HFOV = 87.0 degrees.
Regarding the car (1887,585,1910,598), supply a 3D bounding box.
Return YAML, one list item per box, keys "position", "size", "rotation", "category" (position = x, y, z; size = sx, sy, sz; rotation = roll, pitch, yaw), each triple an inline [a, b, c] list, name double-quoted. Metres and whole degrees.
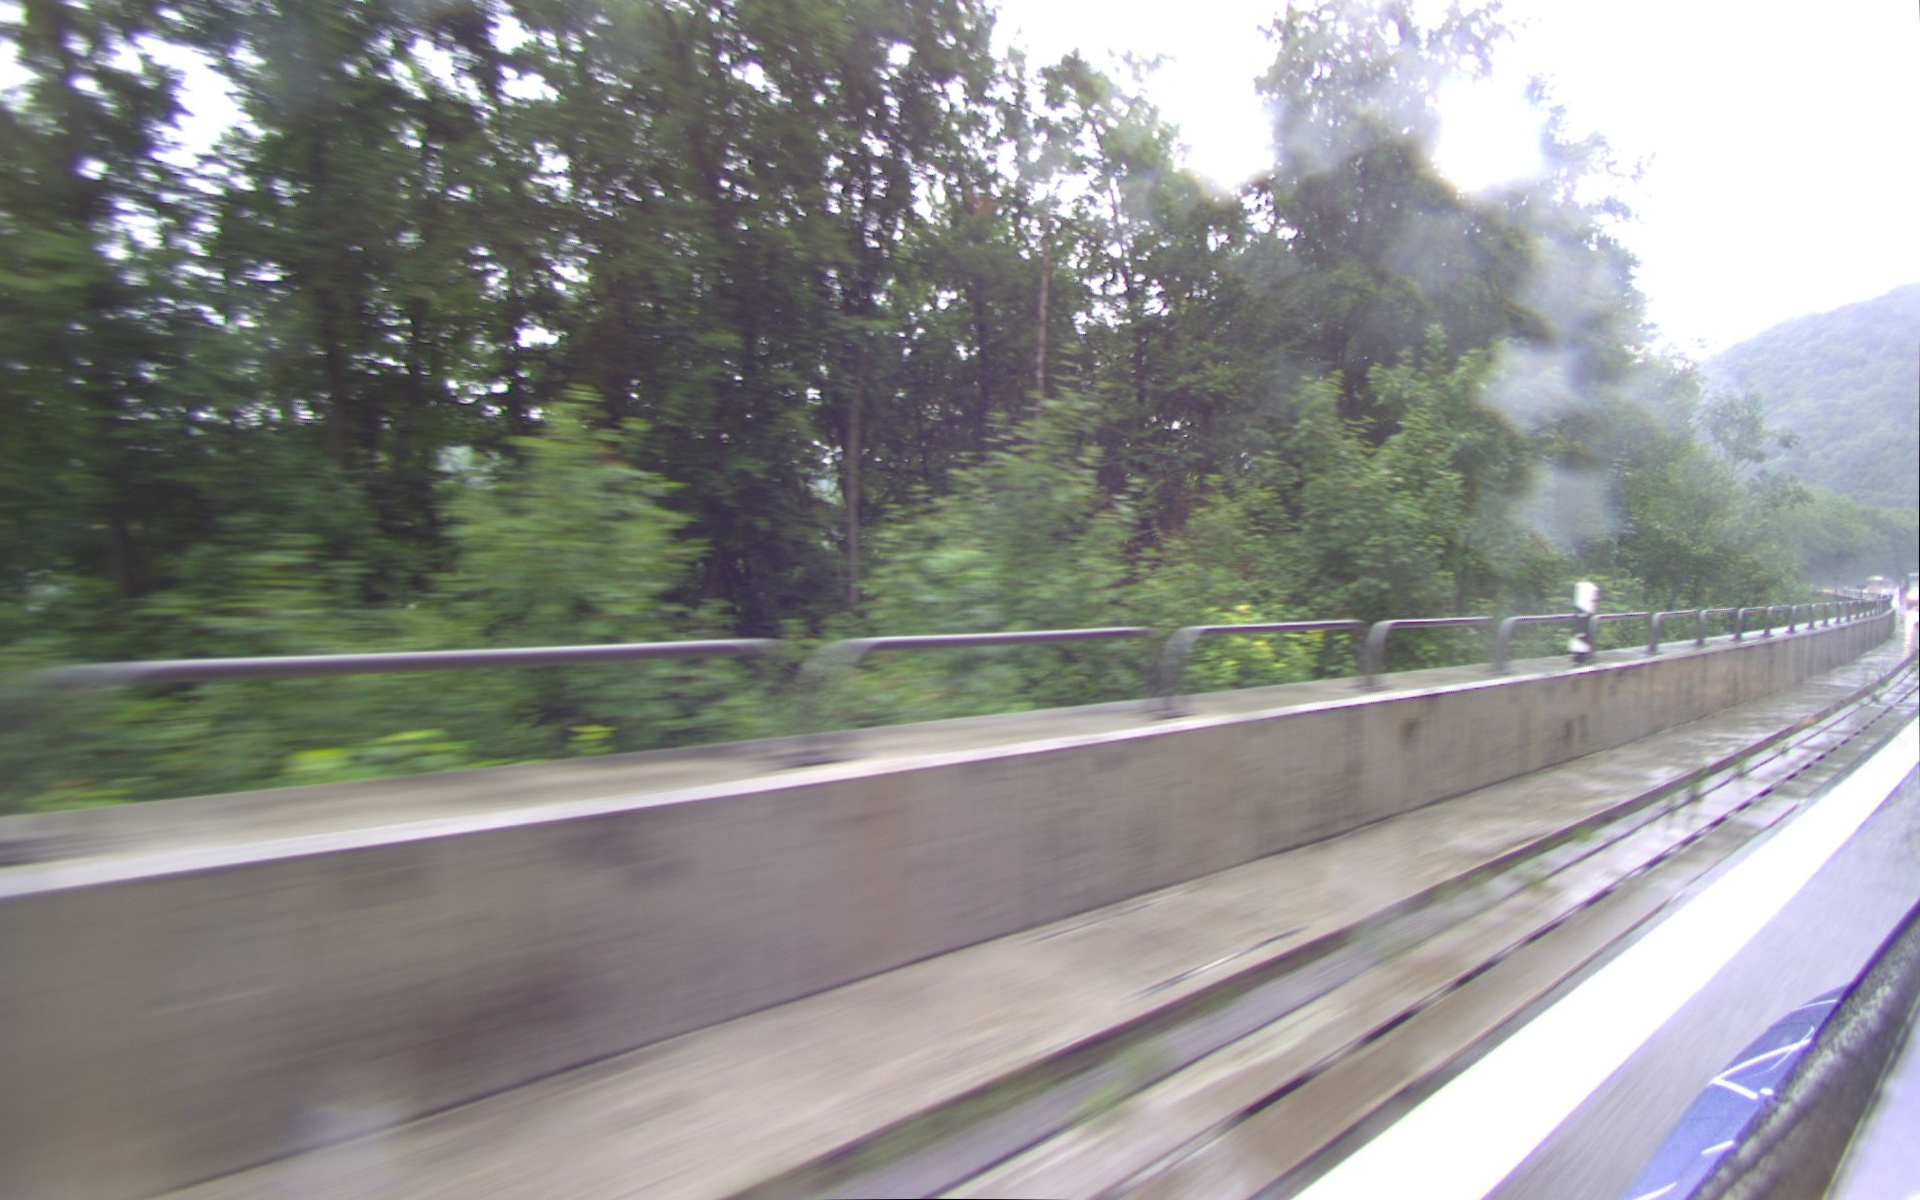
- position: [115.852, -1.078, 124.945]
  size: [1.736, 1.418, 3.943]
  rotation: [5, 4, 39]
  category: "car"
